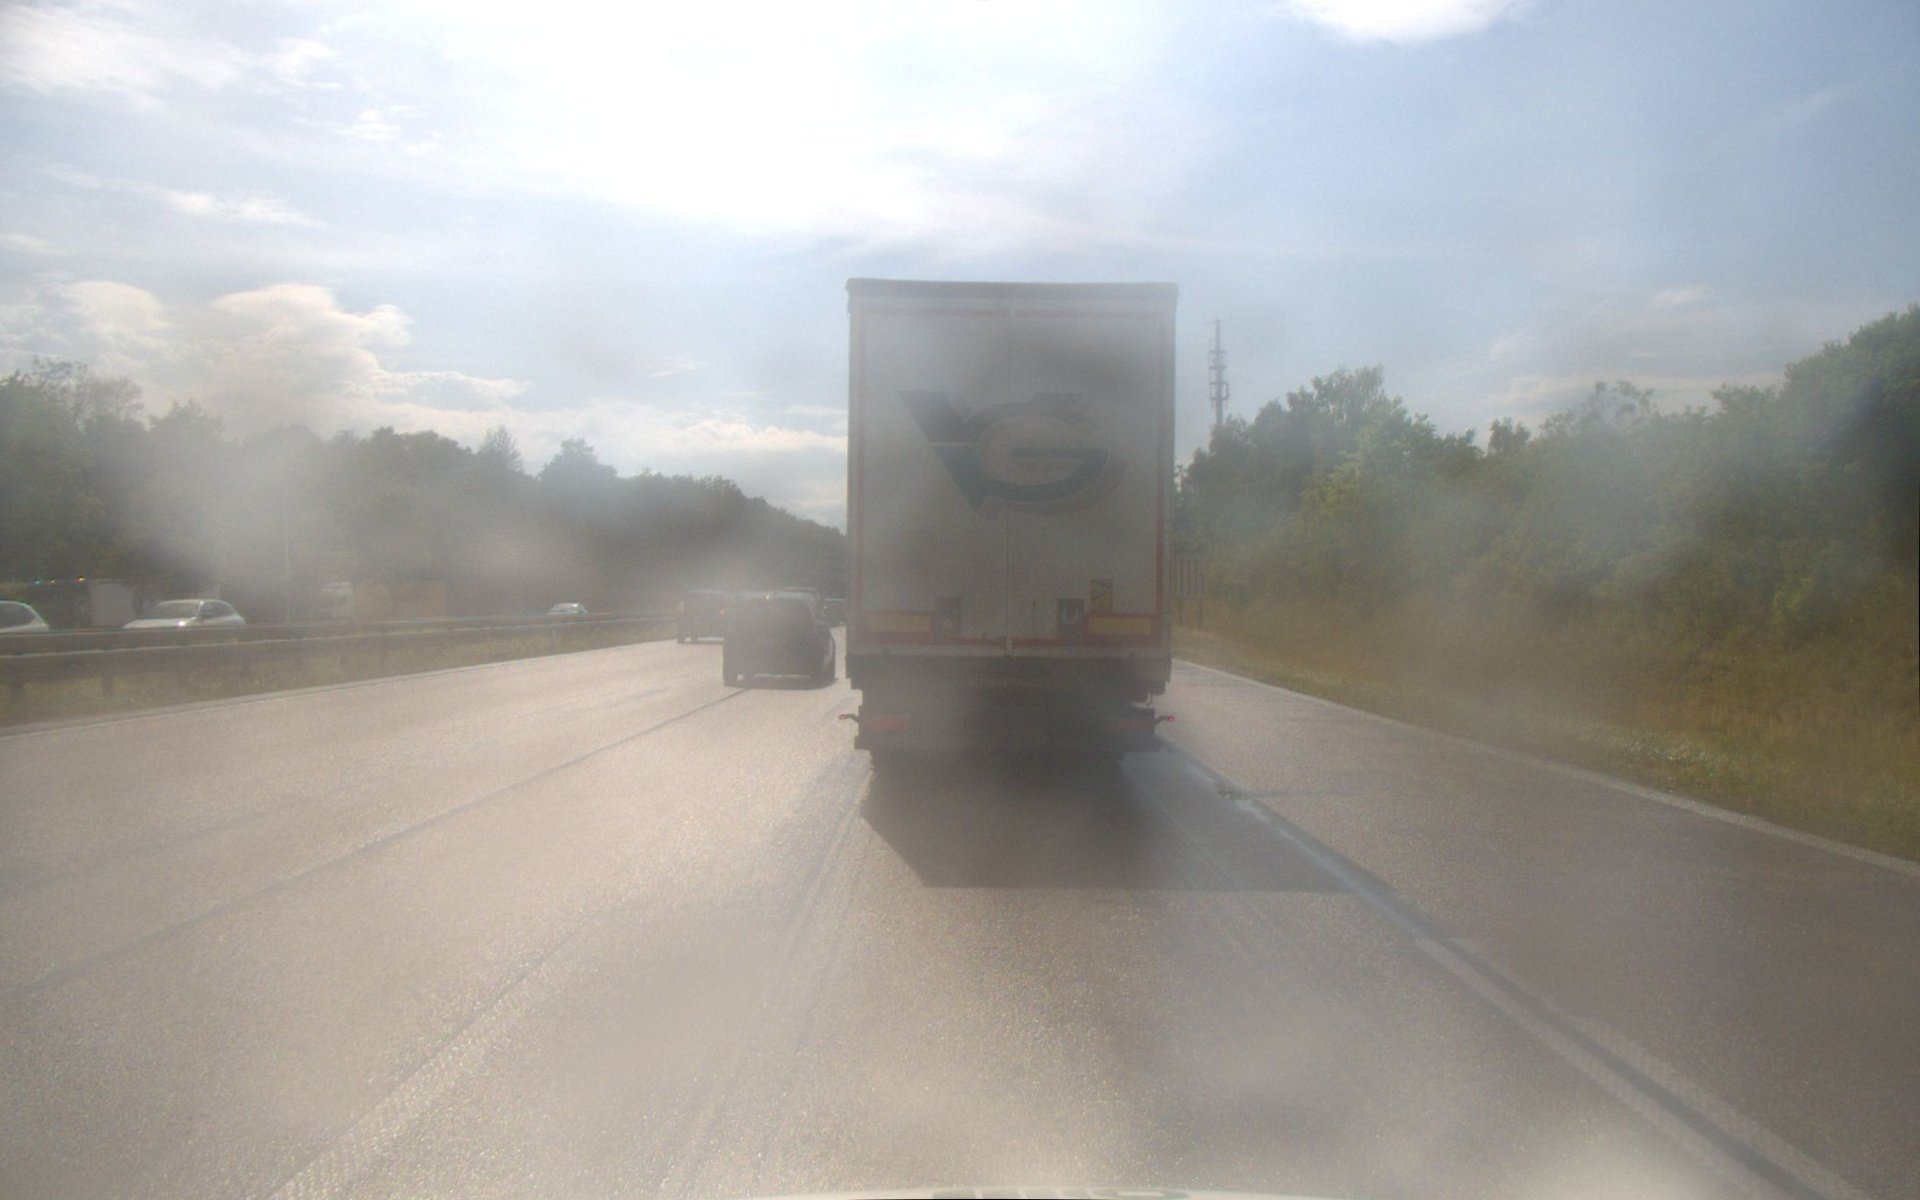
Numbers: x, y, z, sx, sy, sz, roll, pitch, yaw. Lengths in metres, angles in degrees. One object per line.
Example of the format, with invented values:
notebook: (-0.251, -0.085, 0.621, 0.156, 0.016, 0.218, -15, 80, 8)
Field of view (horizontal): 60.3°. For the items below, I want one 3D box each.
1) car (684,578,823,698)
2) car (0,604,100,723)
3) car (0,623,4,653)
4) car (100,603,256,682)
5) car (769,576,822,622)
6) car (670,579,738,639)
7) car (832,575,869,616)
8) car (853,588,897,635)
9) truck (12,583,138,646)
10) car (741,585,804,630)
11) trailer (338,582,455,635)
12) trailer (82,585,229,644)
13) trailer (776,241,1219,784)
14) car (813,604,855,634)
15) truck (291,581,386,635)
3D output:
car: (-3.676, 0.657, 30.313, 2.229, 1.989, 4.817, 1, -1, -4)
car: (-16.560, 1.028, 27.686, 1.793, 1.924, 4.778, 1, -1, 0)
car: (-55.906, 2.135, 92.579, 2.016, 1.748, 4.369, 1, -1, 3)
car: (-20.384, 1.082, 43.334, 1.793, 1.924, 4.778, 1, -1, 0)
car: (-7.794, -0.030, 78.668, 1.938, 2.090, 4.756, 1, -1, 1)
car: (-8.251, 0.301, 53.624, 1.658, 1.836, 3.974, 1, -1, -2)
car: (-7.283, -0.275, 110.466, 1.952, 2.661, 5.259, 1, -1, 1)
car: (-3.424, 0.485, 67.425, 1.658, 1.836, 3.974, 1, -1, -2)
truck: (-54.765, 0.895, 102.591, 3.708, 3.724, 6.709, 1, -1, 5)
car: (-7.345, 0.305, 65.105, 1.869, 1.665, 4.617, 0, -1, 1)
trailer: (-47.813, 0.765, 140.961, 3.707, 4.189, 11.734, 1, -1, 13)
trailer: (-53.807, 0.937, 111.055, 3.708, 3.713, 10.506, 0, 0, 7)
trailer: (0.209, -0.650, 19.393, 3.217, 3.967, 14.126, 1, 0, -1)
car: (-7.103, 1.058, 93.643, 1.952, 1.592, 4.756, 1, -1, 1)
truck: (-49.785, 0.655, 132.755, 3.707, 4.189, 7.051, 1, -1, 13)
